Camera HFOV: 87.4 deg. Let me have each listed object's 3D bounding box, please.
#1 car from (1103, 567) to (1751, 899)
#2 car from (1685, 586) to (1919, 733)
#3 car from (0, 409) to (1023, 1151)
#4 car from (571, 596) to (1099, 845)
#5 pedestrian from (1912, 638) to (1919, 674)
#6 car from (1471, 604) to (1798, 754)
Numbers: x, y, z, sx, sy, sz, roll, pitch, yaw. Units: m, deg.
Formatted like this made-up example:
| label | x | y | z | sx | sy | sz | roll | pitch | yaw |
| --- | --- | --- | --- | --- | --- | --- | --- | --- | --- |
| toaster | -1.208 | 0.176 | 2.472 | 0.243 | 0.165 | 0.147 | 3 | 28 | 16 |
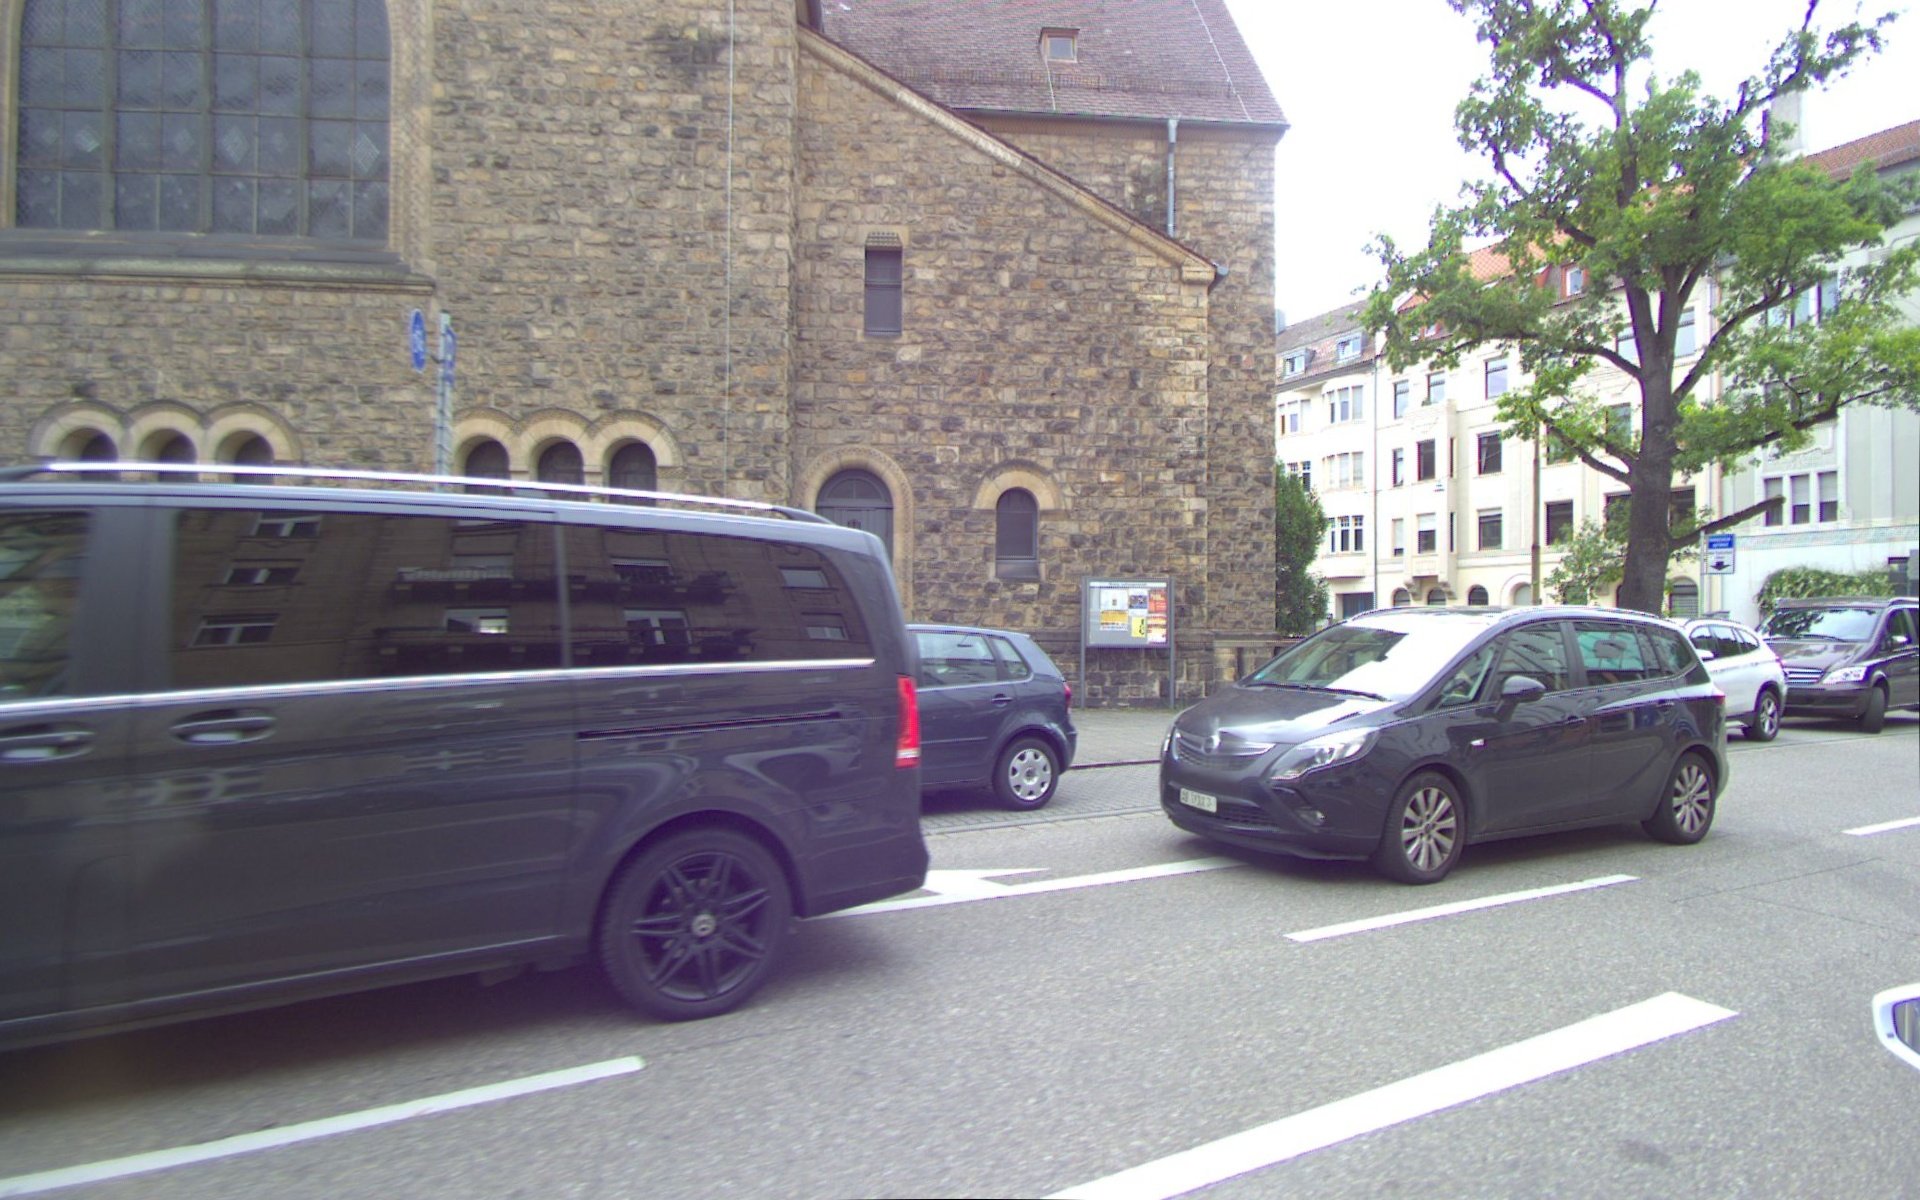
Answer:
| label | x | y | z | sx | sy | sz | roll | pitch | yaw |
| --- | --- | --- | --- | --- | --- | --- | --- | --- | --- |
| car | 3.371 | 0.733 | 7.068 | 4.491 | 1.706 | 1.837 | 1 | -1 | -28 |
| car | 14.052 | 0.881 | 16.093 | 5.120 | 2.040 | 2.005 | 1 | -1 | -29 |
| car | -2.471 | 0.502 | 3.816 | 5.218 | 1.980 | 1.904 | 1 | -1 | -28 |
| car | -0.933 | 0.826 | 7.855 | 3.725 | 1.528 | 1.639 | 3 | 0 | -29 |
| pedestrian | 32.849 | 1.922 | 34.144 | 0.548 | 1.213 | 0.576 | 0 | -1 | -28 |
| car | 8.986 | 0.939 | 13.312 | 4.378 | 1.711 | 1.835 | 1 | -1 | -29 |
